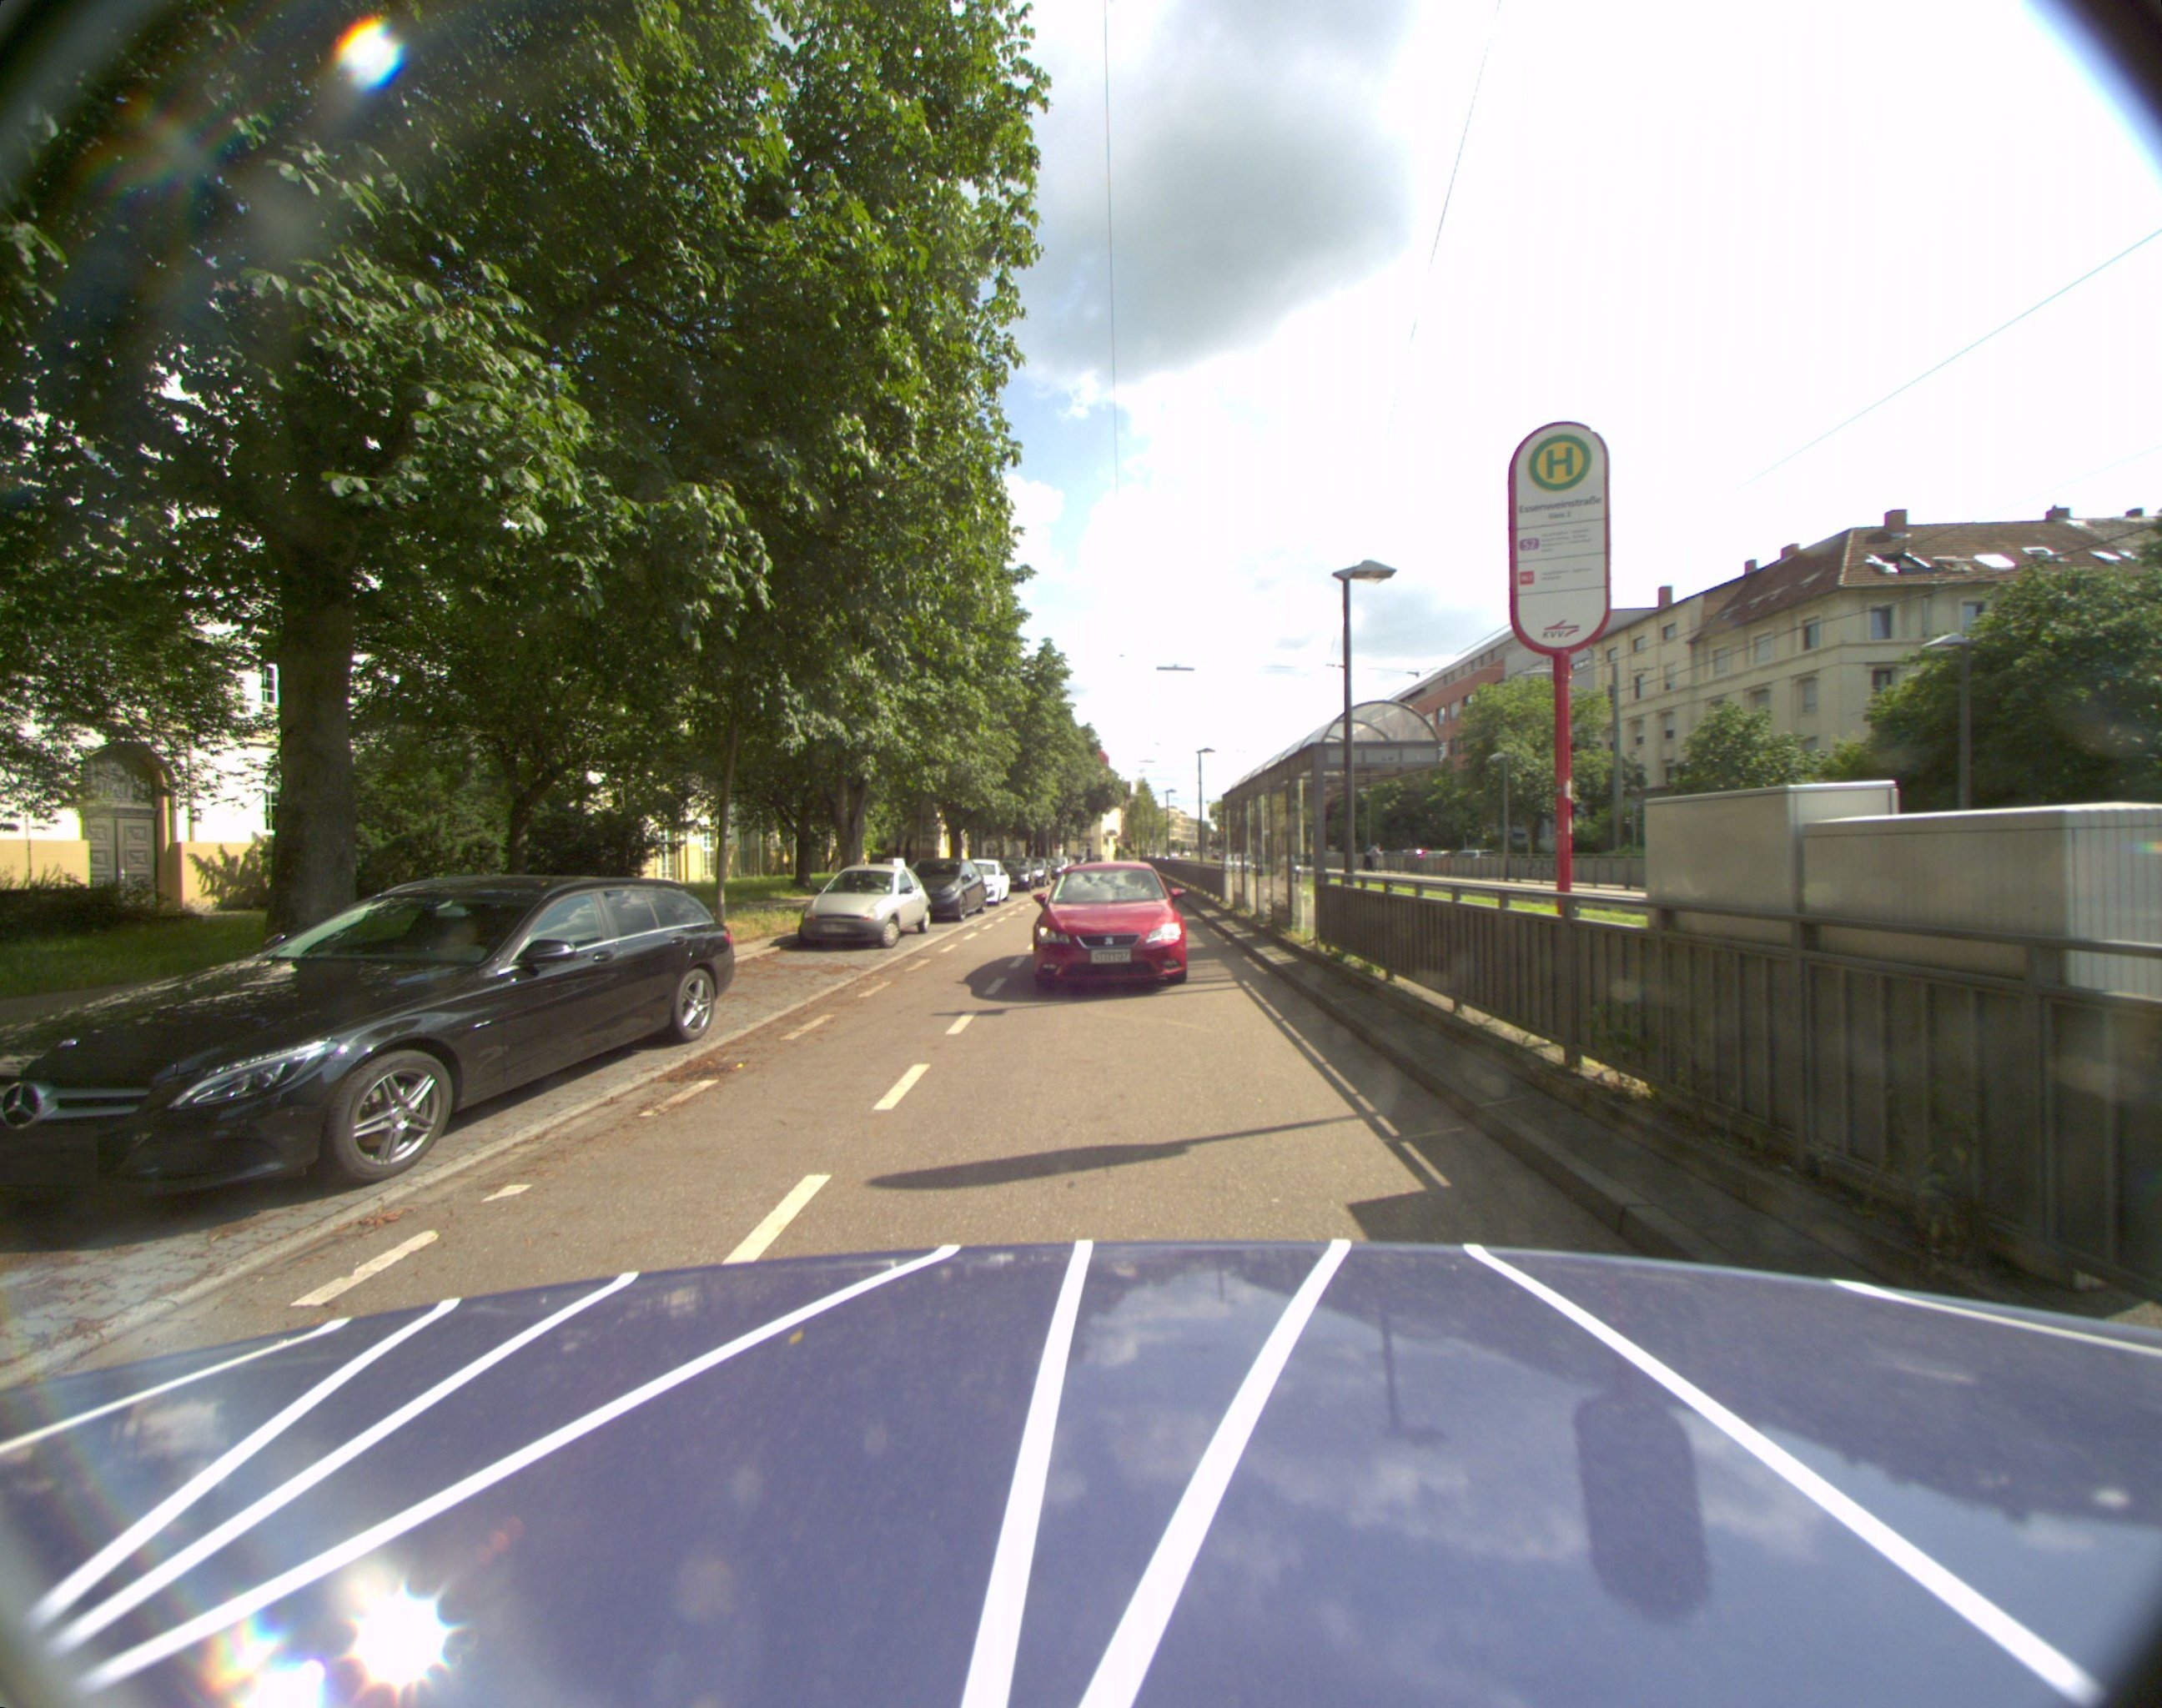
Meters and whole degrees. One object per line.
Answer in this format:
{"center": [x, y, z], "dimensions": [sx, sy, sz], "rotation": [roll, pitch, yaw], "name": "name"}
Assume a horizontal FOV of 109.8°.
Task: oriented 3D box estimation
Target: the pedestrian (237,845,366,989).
{"center": [-9.538, 0.740, 9.322], "dimensions": [0.745, 1.686, 0.767], "rotation": [-1, 1, 8], "name": "pedestrian"}

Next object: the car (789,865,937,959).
{"center": [-3.965, 0.993, 14.404], "dimensions": [1.594, 1.437, 3.598], "rotation": [1, 1, 3], "name": "car"}

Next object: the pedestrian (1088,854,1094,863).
{"center": [1.514, 0.645, 112.898], "dimensions": [0.804, 1.238, 0.892], "rotation": [-1, 2, 5], "name": "pedestrian"}

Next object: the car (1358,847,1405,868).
{"center": [25.844, 0.282, 65.320], "dimensions": [4.006, 1.520, 1.669], "rotation": [-3, 0, -34], "name": "car"}

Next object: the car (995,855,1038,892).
{"center": [-2.835, 0.845, 34.125], "dimensions": [1.559, 1.453, 3.558], "rotation": [2, 1, 0], "name": "car"}

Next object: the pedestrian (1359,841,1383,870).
{"center": [15.735, 0.063, 41.272], "dimensions": [0.991, 1.569, 0.798], "rotation": [-1, 1, 0], "name": "pedestrian"}

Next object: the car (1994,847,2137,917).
{"center": [23.520, 0.596, 18.128], "dimensions": [4.006, 1.477, 1.606], "rotation": [-1, 0, -30], "name": "car"}

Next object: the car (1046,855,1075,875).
{"center": [-1.485, 0.814, 56.828], "dimensions": [1.639, 1.423, 4.016], "rotation": [2, 0, 5], "name": "car"}

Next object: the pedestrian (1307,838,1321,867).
{"center": [15.440, -0.080, 50.277], "dimensions": [0.752, 1.881, 0.639], "rotation": [-1, 3, 5], "name": "pedestrian"}

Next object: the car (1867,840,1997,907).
{"center": [23.370, 0.496, 20.833], "dimensions": [4.007, 1.630, 1.823], "rotation": [-1, -1, -34], "name": "car"}

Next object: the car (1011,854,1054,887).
{"center": [-2.430, 0.810, 39.308], "dimensions": [1.694, 1.552, 4.308], "rotation": [2, 0, 3], "name": "car"}

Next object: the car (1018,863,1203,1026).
{"center": [0.387, 0.932, 9.578], "dimensions": [1.790, 1.499, 4.000], "rotation": [-2, 0, 3], "name": "car"}

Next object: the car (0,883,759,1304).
{"center": [-4.346, 1.039, 5.409], "dimensions": [1.922, 1.433, 4.797], "rotation": [1, 0, 2], "name": "car"}

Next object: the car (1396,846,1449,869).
{"center": [25.516, 0.231, 56.717], "dimensions": [4.144, 1.630, 1.829], "rotation": [-1, 1, -37], "name": "car"}

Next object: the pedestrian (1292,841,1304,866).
{"center": [15.695, -0.039, 54.939], "dimensions": [0.607, 1.744, 0.626], "rotation": [0, 2, 43], "name": "pedestrian"}

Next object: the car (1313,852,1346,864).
{"center": [26.279, 0.418, 80.312], "dimensions": [3.258, 1.296, 1.600], "rotation": [-1, 0, -32], "name": "car"}

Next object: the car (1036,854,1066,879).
{"center": [-1.950, 0.792, 50.899], "dimensions": [1.836, 1.458, 4.829], "rotation": [1, 1, -1], "name": "car"}

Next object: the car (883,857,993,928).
{"center": [-3.571, 0.895, 19.803], "dimensions": [1.729, 1.574, 4.678], "rotation": [0, 0, 3], "name": "car"}

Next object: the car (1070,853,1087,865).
{"center": [-0.282, 0.548, 89.267], "dimensions": [1.689, 1.379, 3.924], "rotation": [0, 1, 3], "name": "car"}

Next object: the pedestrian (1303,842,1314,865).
{"center": [16.394, -0.042, 54.794], "dimensions": [0.608, 1.665, 0.625], "rotation": [-1, 2, 3], "name": "pedestrian"}

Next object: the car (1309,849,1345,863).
{"center": [27.141, 0.202, 83.873], "dimensions": [4.007, 1.487, 1.647], "rotation": [-1, 0, -34], "name": "car"}

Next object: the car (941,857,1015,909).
{"center": [-3.351, 0.884, 25.400], "dimensions": [1.840, 1.515, 4.253], "rotation": [1, 0, 0], "name": "car"}

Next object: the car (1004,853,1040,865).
{"center": [-8.596, 0.696, 111.400], "dimensions": [4.827, 1.646, 1.858], "rotation": [-1, 2, 13], "name": "car"}

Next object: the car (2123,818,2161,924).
{"center": [22.929, 0.287, 15.131], "dimensions": [3.957, 2.058, 2.045], "rotation": [-1, 0, -28], "name": "car"}

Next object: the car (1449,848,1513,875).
{"center": [24.793, 0.440, 47.069], "dimensions": [4.161, 1.556, 1.921], "rotation": [-1, 1, -38], "name": "car"}

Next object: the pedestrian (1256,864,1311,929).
{"center": [3.461, 0.706, 12.955], "dimensions": [0.662, 1.066, 0.725], "rotation": [-1, 0, 37], "name": "pedestrian"}
